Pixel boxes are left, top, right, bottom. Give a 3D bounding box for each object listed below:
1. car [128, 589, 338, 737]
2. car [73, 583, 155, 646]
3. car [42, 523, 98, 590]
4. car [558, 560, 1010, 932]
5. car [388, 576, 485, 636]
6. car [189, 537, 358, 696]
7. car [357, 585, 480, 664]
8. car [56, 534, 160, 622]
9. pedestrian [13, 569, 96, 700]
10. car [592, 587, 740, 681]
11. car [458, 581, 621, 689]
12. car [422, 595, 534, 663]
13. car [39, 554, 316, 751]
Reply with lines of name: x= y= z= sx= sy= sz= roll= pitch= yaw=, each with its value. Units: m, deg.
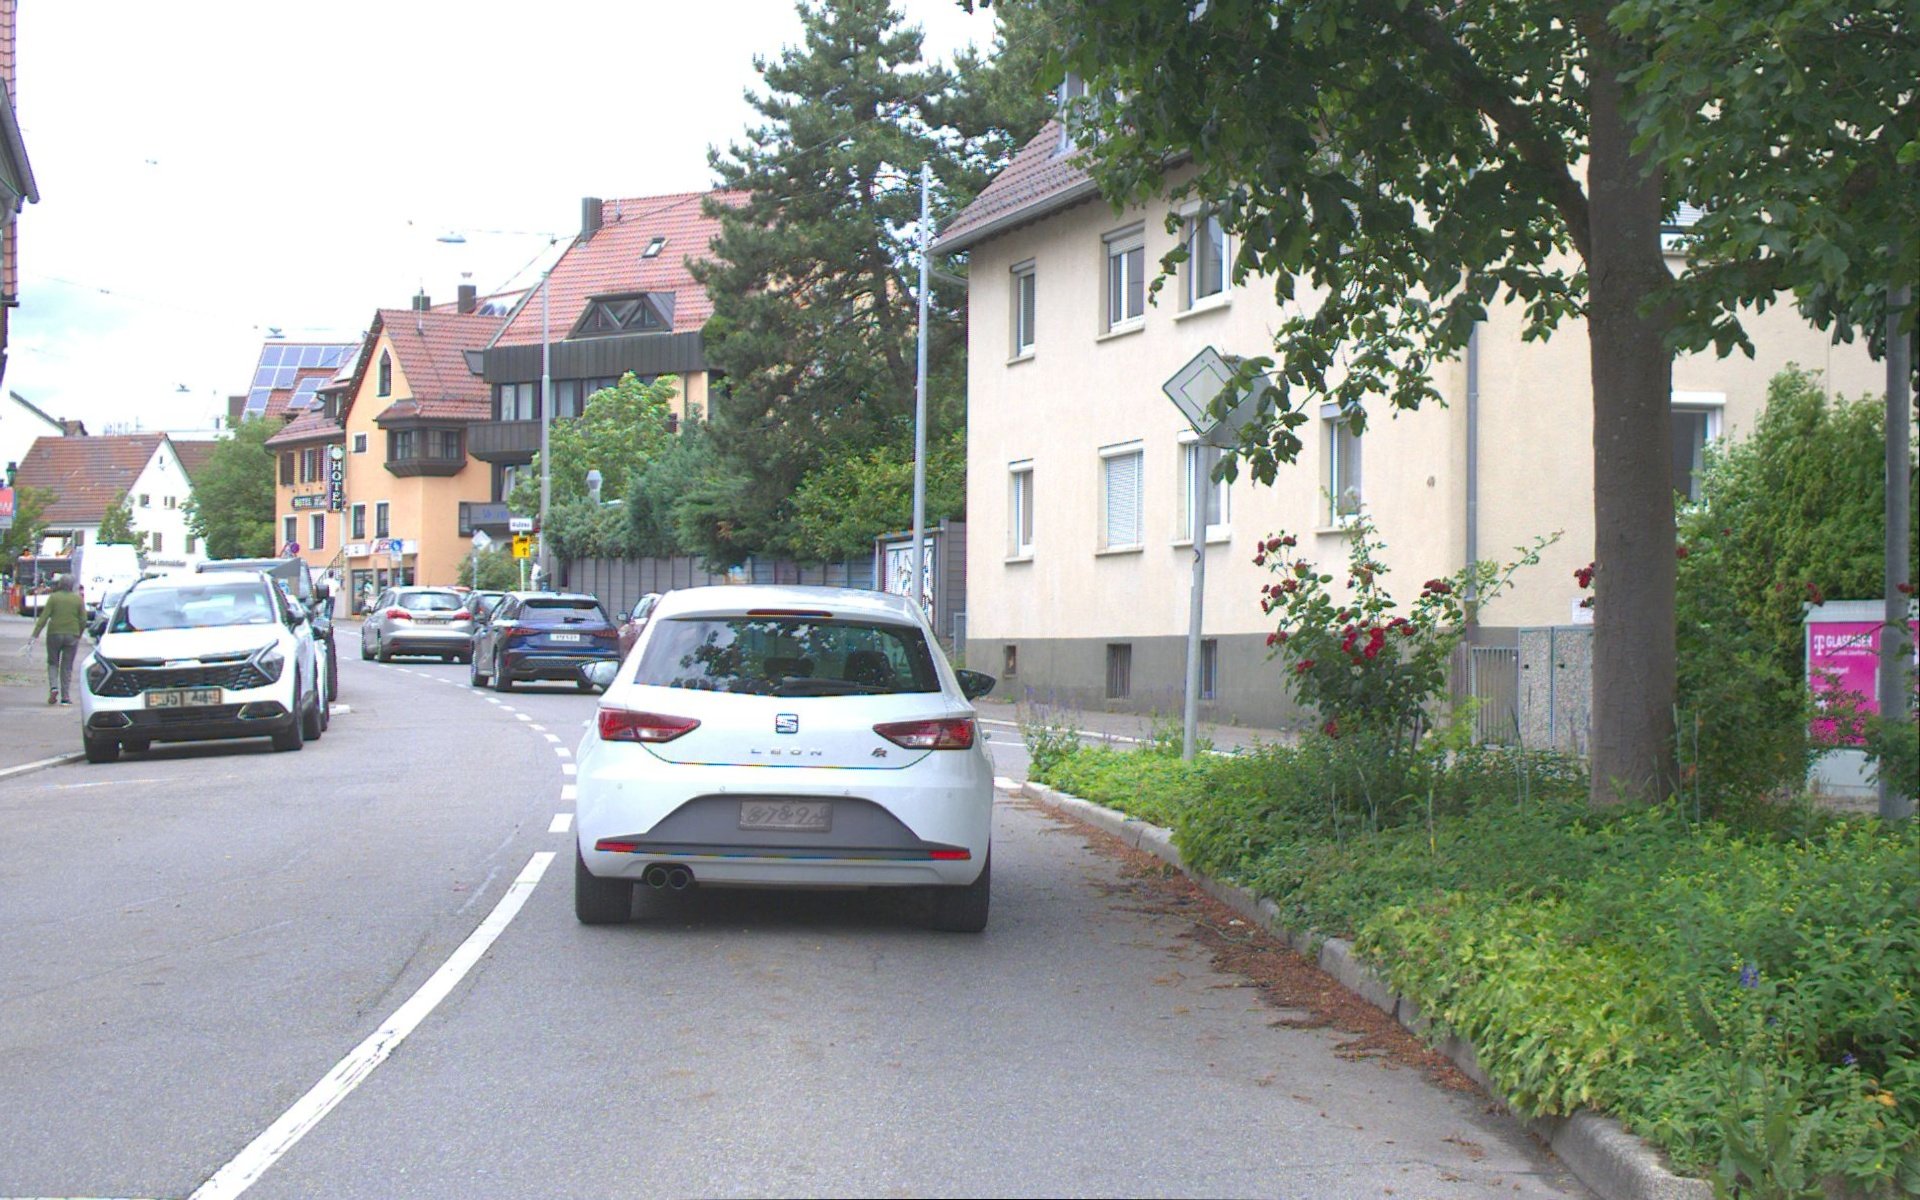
car: x=-7.703 y=0.636 z=36.737 sx=1.997 sy=1.431 sz=3.919 roll=2 pitch=0 yaw=-10
car: x=-21.006 y=0.346 z=85.288 sx=1.798 sy=1.474 sz=4.052 roll=-2 pitch=1 yaw=-16
car: x=-37.629 y=-1.831 z=145.237 sx=2.151 sy=2.678 sz=5.396 roll=2 pitch=0 yaw=-15
car: x=-0.883 y=0.586 z=15.582 sx=1.758 sy=1.447 sz=4.001 roll=1 pitch=0 yaw=-6
car: x=-13.286 y=0.140 z=87.144 sx=1.758 sy=1.447 sz=4.001 roll=1 pitch=0 yaw=-18
car: x=-9.298 y=0.182 z=46.864 sx=1.993 sy=2.007 sz=4.671 roll=-2 pitch=1 yaw=-9
car: x=-10.360 y=0.445 z=65.611 sx=1.758 sy=1.447 sz=4.001 roll=1 pitch=0 yaw=-17
car: x=-27.246 y=-0.696 z=110.113 sx=2.152 sy=2.678 sz=5.545 roll=2 pitch=0 yaw=-3
pedestrian: x=-10.738 y=0.409 z=40.784 sx=0.806 sy=1.495 sz=0.976 roll=3 pitch=-1 yaw=-10
car: x=-4.967 y=0.547 z=57.622 sx=1.758 sy=1.447 sz=4.001 roll=3 pitch=-1 yaw=-14
car: x=-6.009 y=0.471 z=48.776 sx=1.758 sy=1.447 sz=4.001 roll=1 pitch=0 yaw=-15
car: x=-10.743 y=0.623 z=76.447 sx=1.758 sy=1.447 sz=4.001 roll=1 pitch=0 yaw=-18
car: x=-7.100 y=0.436 z=31.633 sx=1.997 sy=1.627 sz=4.859 roll=2 pitch=0 yaw=-7
